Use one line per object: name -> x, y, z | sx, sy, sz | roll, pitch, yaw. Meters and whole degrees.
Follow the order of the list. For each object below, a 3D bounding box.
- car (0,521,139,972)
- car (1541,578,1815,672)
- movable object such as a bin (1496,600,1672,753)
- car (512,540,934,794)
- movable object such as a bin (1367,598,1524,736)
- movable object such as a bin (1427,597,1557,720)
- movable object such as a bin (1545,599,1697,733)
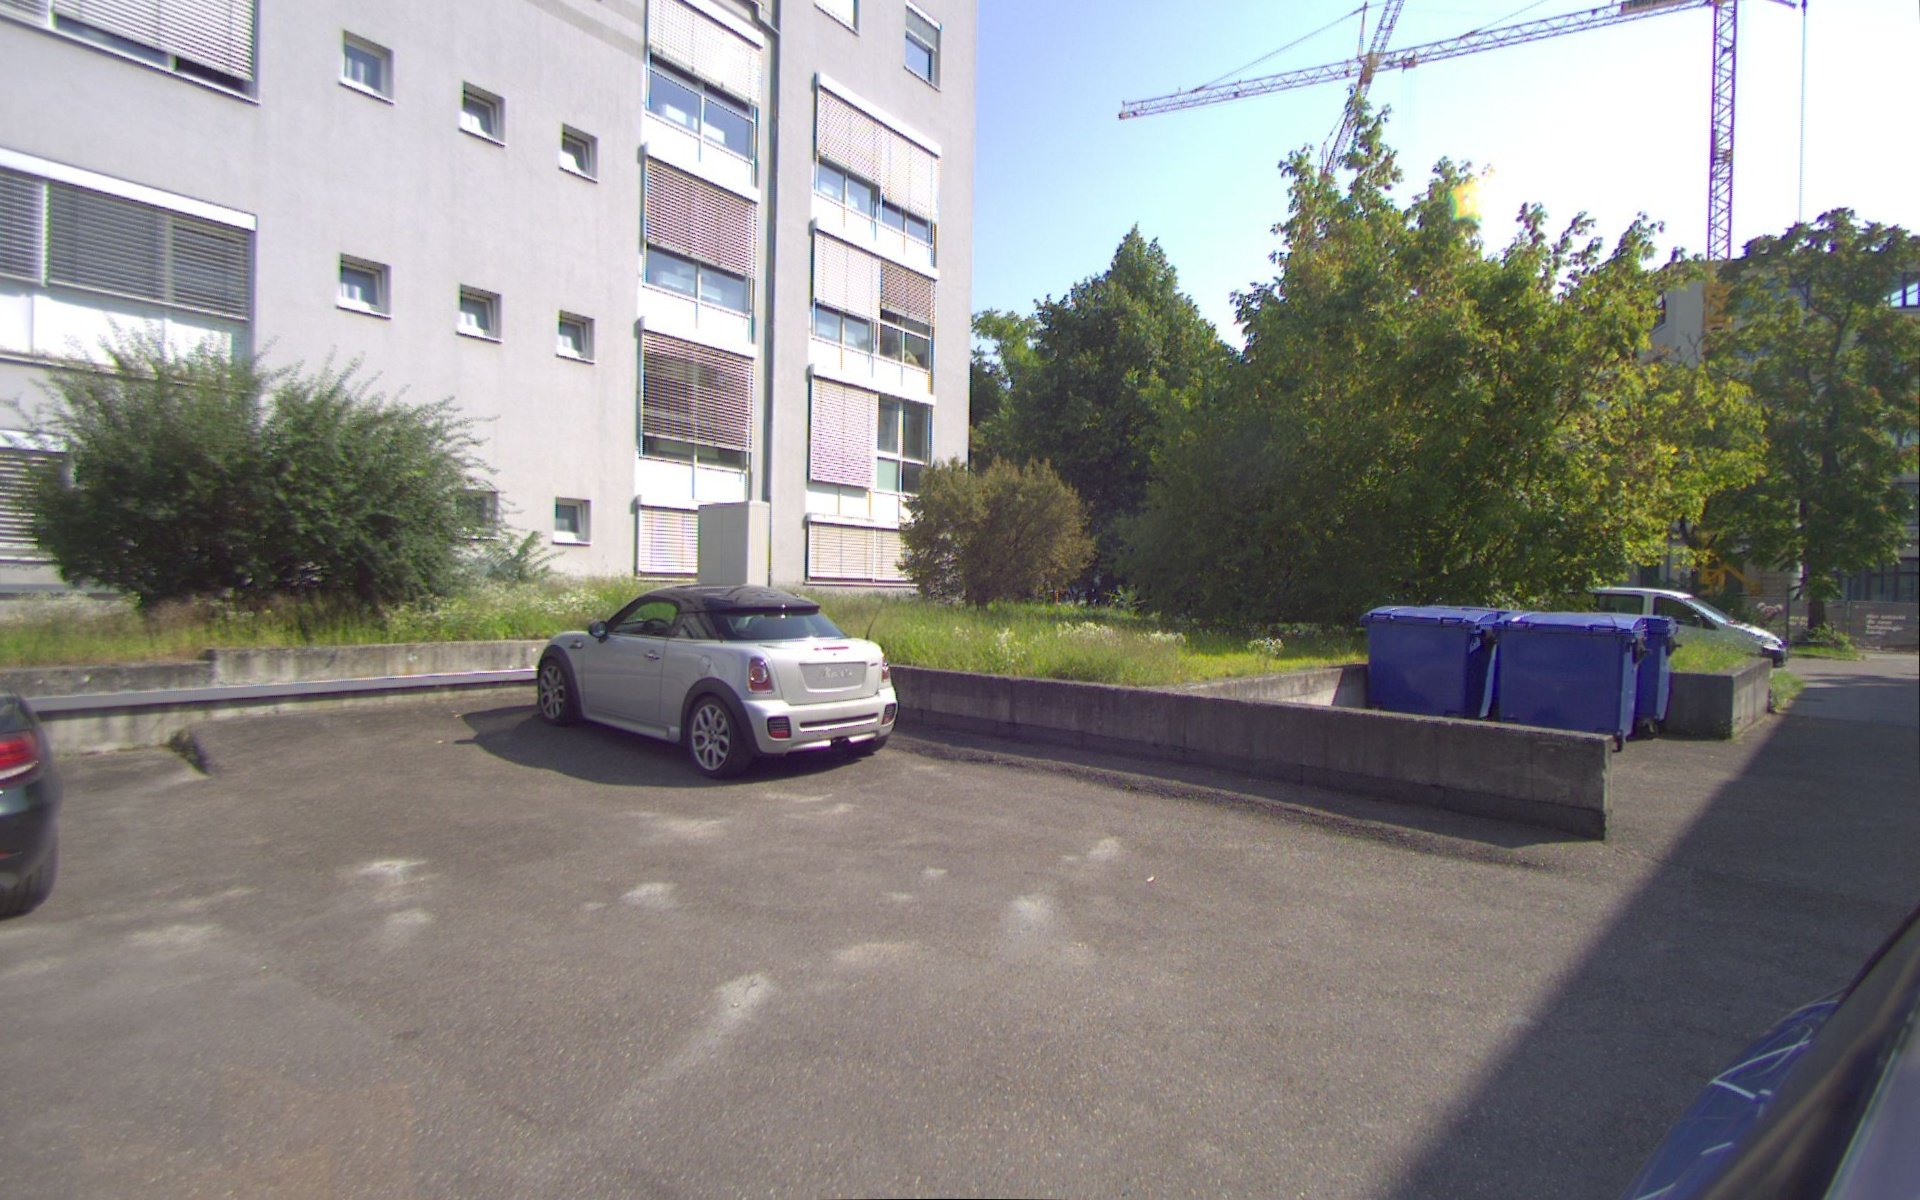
car -> -5.281, 0.499, 4.219 | 3.785, 1.609, 1.875 | 1, 1, 34
car -> 16.551, 0.486, 23.539 | 2.011, 1.945, 4.960 | -1, 1, -45
movable object such as a bin -> 6.207, 0.693, 10.063 | 1.300, 1.357, 1.176 | 1, 1, 42
car -> -2.183, 0.384, 8.828 | 3.618, 1.563, 1.776 | 7, 5, 41
movable object such as a bin -> 5.276, 0.675, 11.010 | 1.098, 1.357, 1.236 | 0, 1, -44
movable object such as a bin -> 6.436, 0.657, 12.240 | 1.224, 1.357, 1.062 | 1, 1, 38
movable object such as a bin -> 7.394, 0.682, 11.315 | 1.307, 1.357, 1.084 | 1, 1, 40
